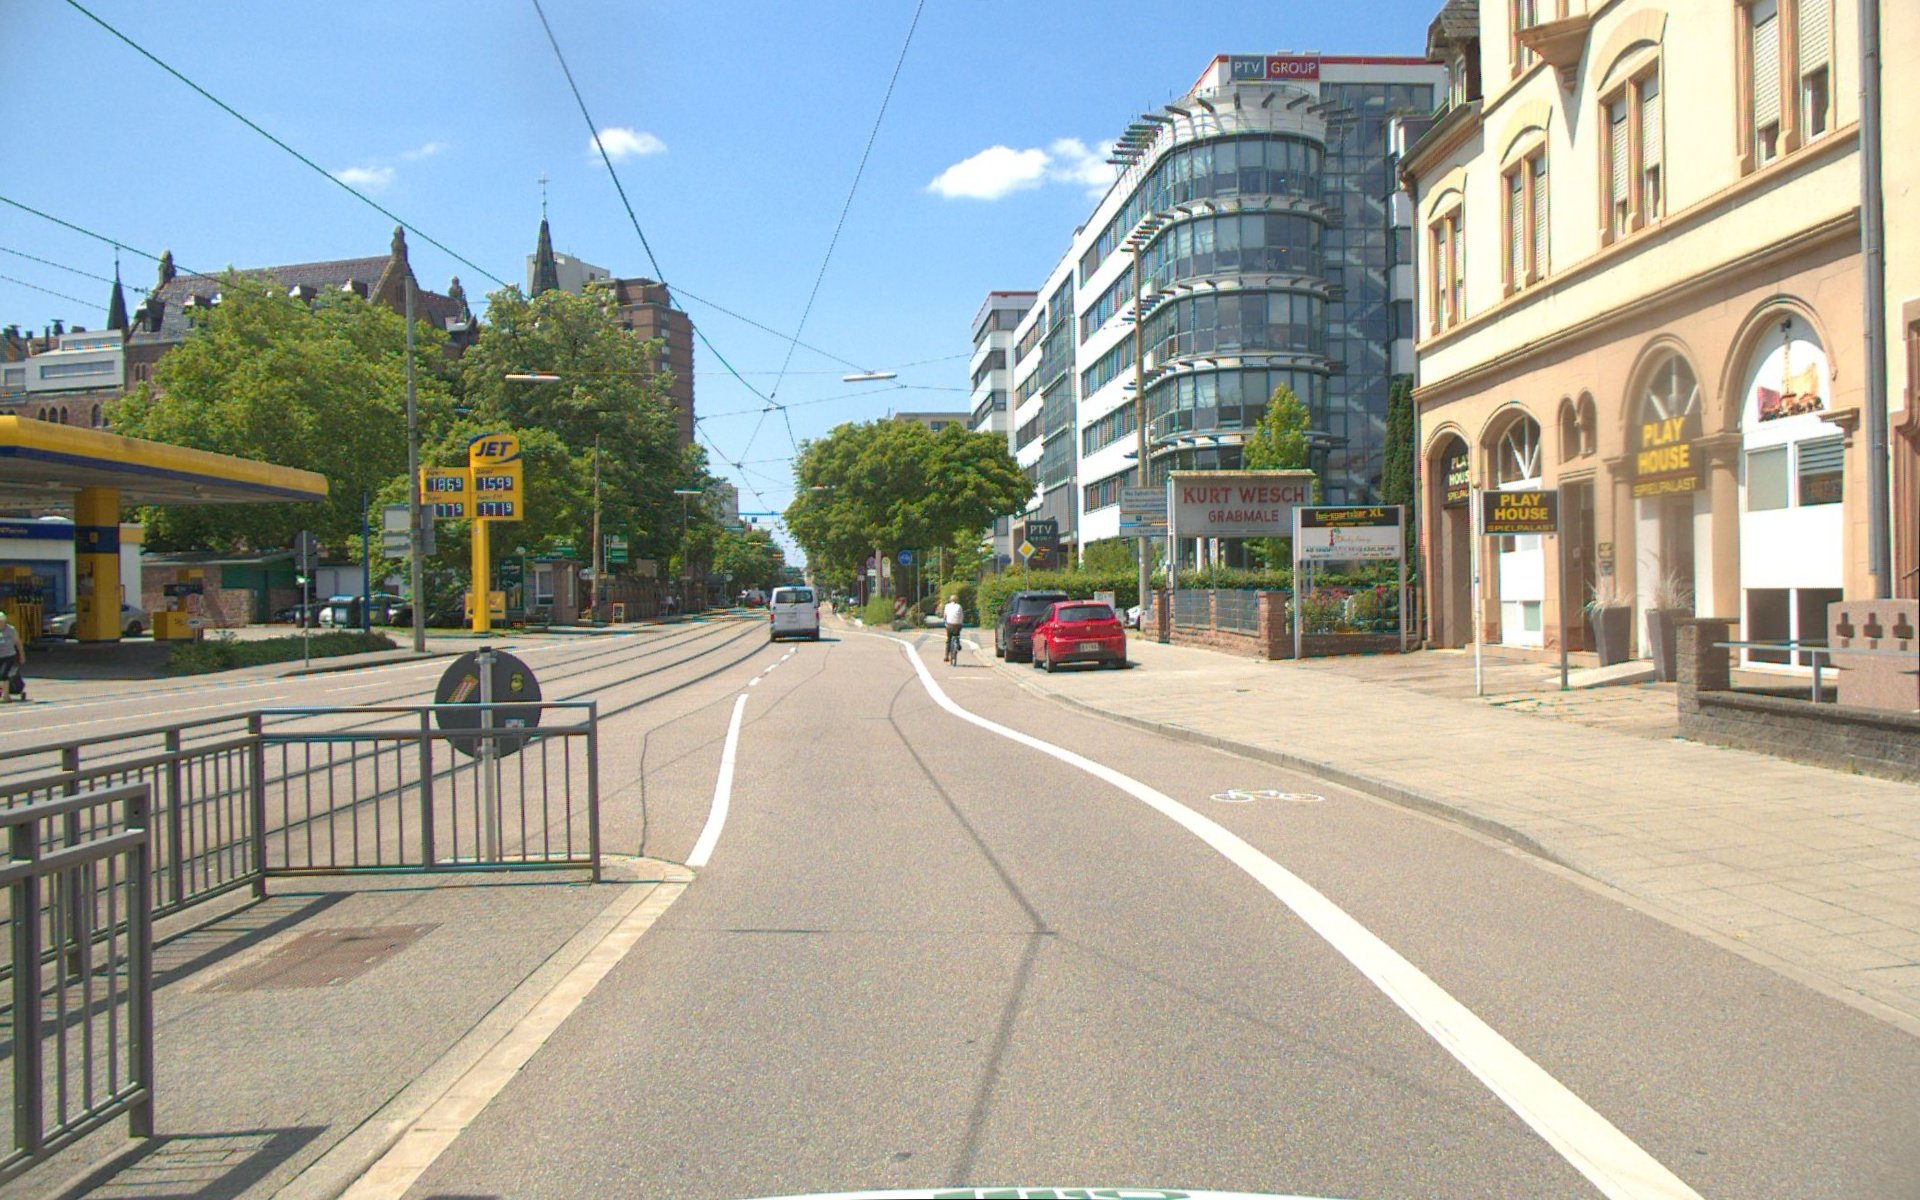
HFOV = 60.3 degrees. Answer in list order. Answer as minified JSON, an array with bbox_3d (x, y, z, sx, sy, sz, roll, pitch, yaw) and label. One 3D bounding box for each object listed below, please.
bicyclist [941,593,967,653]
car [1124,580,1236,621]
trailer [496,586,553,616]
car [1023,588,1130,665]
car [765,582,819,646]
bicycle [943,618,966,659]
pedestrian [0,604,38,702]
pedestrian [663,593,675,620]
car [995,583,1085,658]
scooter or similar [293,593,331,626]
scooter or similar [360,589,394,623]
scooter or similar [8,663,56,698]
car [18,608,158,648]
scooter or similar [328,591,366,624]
[{"bbox_3d":[-0.153,0.540,39.497,0.579,1.421,0.841,-1,0,-3],"label":"bicyclist"},{"bbox_3d":[7.920,0.006,59.735,3.724,1.297,1.554,-2,1,-4],"label":"car"},{"bbox_3d":[-22.779,0.082,86.583,2.674,1.553,1.328,0,-1,-4],"label":"trailer"},{"bbox_3d":[2.475,0.520,35.966,1.678,1.478,4.068,-3,1,-5],"label":"car"},{"bbox_3d":[-5.767,0.440,57.070,1.718,2.048,3.996,-2,1,-5],"label":"car"},{"bbox_3d":[-0.147,0.912,39.531,0.456,0.903,2.047,-1,1,-2],"label":"bicycle"},{"bbox_3d":[-16.875,0.936,29.406,0.568,1.700,0.667,-1,0,3],"label":"pedestrian"},{"bbox_3d":[-22.785,0.489,129.578,0.847,2.049,0.645,-3,-1,-8],"label":"pedestrian"},{"bbox_3d":[1.958,0.463,41.979,1.826,1.716,4.998,-2,1,-2],"label":"car"},{"bbox_3d":[-30.224,0.428,77.176,1.286,1.492,1.060,-1,0,6],"label":"scooter or similar"},{"bbox_3d":[-26.804,0.277,76.064,1.148,1.492,1.059,-1,-1,0],"label":"scooter or similar"},{"bbox_3d":[-16.967,1.471,30.246,0.466,0.591,0.631,-1,0,6],"label":"scooter or similar"},{"bbox_3d":[-34.159,1.070,64.975,1.796,1.389,5.011,-1,0,18],"label":"car"},{"bbox_3d":[-28.370,0.362,76.600,1.286,1.492,1.060,-1,-1,6],"label":"scooter or similar"}]
